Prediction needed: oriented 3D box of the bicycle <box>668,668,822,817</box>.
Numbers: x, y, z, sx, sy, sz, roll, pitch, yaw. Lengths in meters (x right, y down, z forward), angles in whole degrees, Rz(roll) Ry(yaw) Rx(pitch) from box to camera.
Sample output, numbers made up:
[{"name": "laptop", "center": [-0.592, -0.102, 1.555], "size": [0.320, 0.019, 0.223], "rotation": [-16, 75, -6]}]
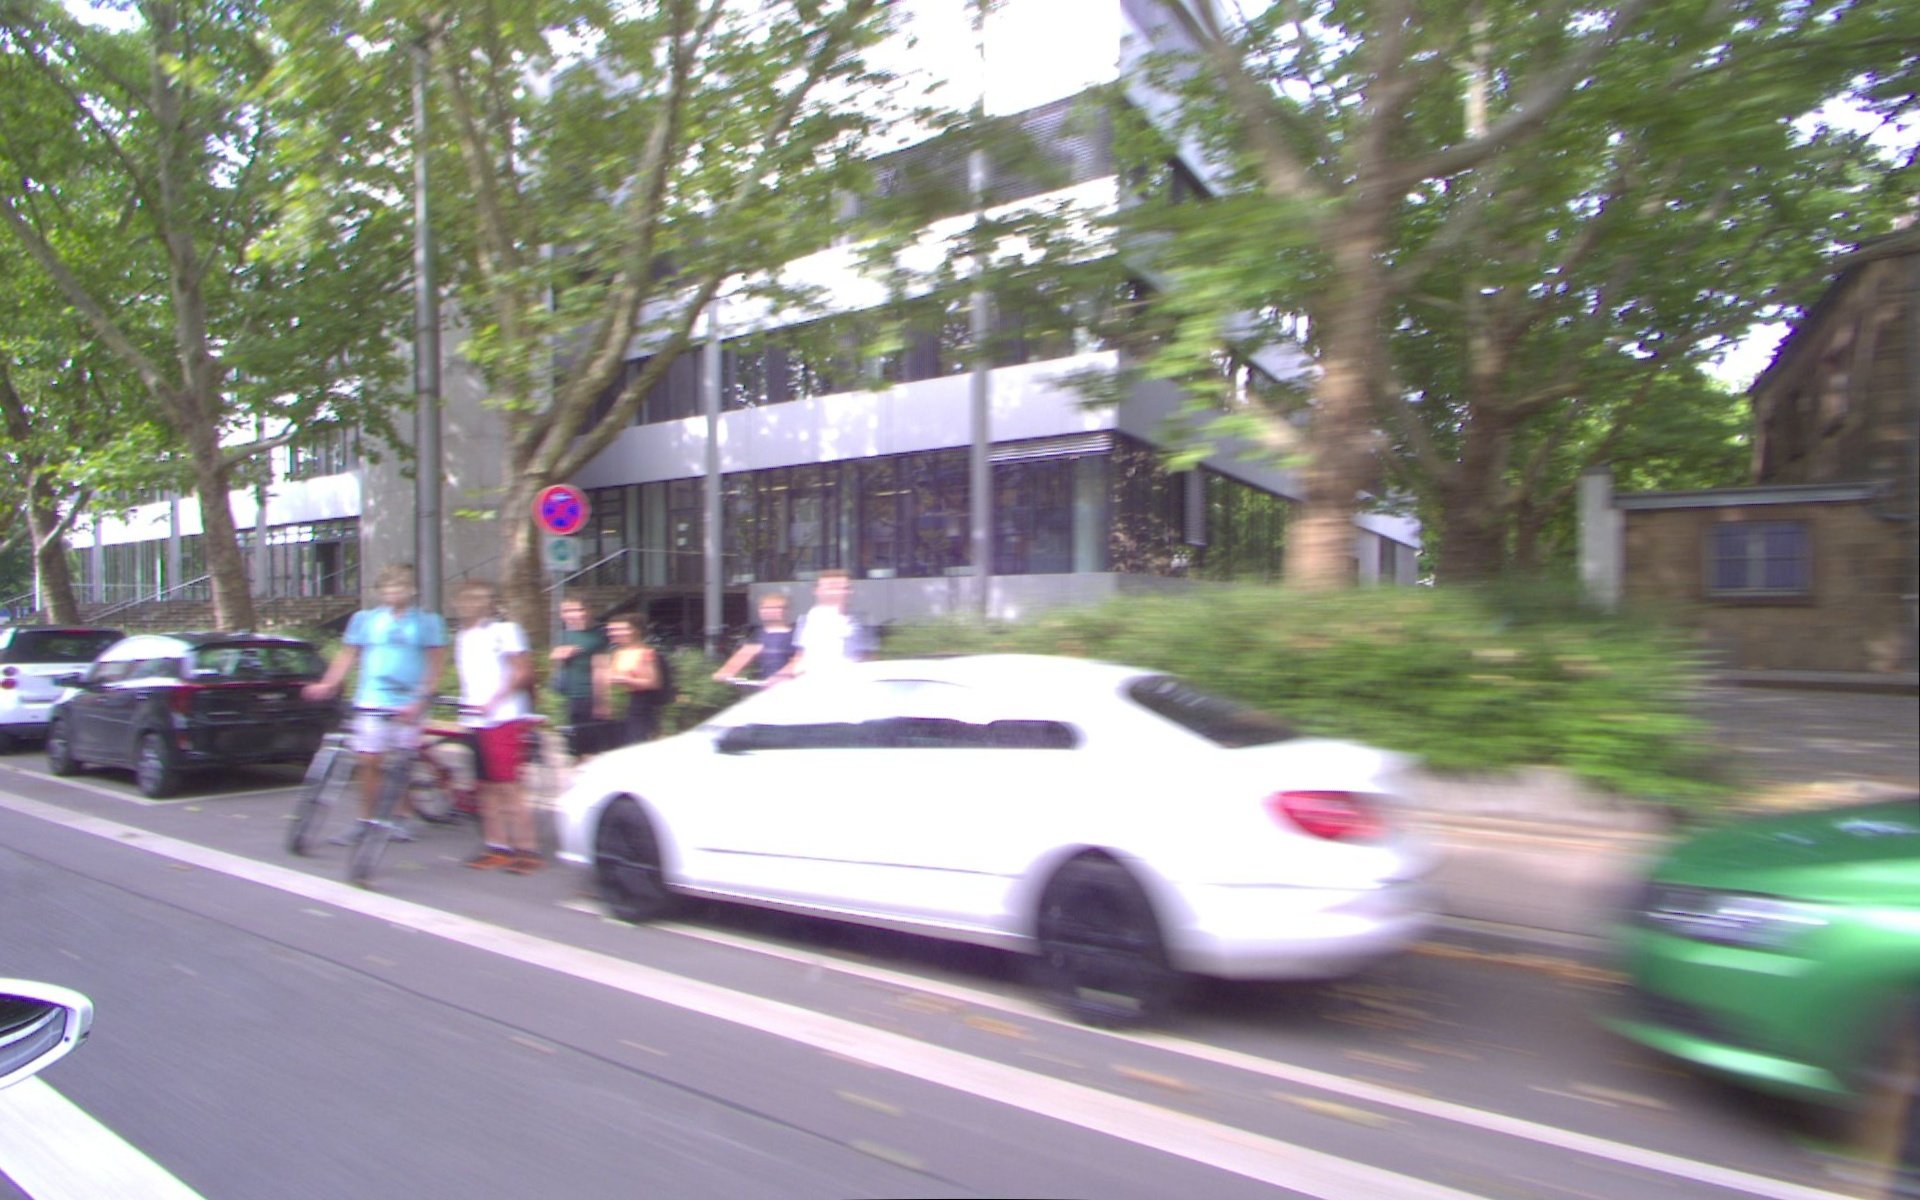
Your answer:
[{"name": "bicycle", "center": [-1.885, 1.220, 9.053], "size": [0.454, 1.146, 1.770], "rotation": [0, -2, 21]}]

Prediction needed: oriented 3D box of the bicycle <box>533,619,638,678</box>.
[{"name": "bicycle", "center": [-7.771, 0.982, 20.864], "size": [0.664, 1.132, 2.074], "rotation": [0, 0, 32]}]

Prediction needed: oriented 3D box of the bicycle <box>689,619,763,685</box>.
[{"name": "bicycle", "center": [-4.248, 0.923, 18.334], "size": [0.611, 1.132, 1.698], "rotation": [0, 0, 14]}]

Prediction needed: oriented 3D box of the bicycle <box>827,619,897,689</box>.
[{"name": "bicycle", "center": [-1.685, 0.914, 17.382], "size": [0.461, 1.132, 1.443], "rotation": [0, 0, 29]}]

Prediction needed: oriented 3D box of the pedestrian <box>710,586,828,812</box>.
[{"name": "pedestrian", "center": [-1.675, 0.835, 8.813], "size": [0.693, 1.879, 0.720], "rotation": [0, -1, 33]}]

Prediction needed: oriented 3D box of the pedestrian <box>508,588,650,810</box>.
[{"name": "pedestrian", "center": [-3.379, 0.842, 8.914], "size": [0.769, 1.840, 0.869], "rotation": [0, -1, 33]}]

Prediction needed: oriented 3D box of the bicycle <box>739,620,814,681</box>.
[{"name": "bicycle", "center": [-3.528, 0.948, 19.254], "size": [1.415, 1.132, 0.490], "rotation": [0, 1, 28]}]

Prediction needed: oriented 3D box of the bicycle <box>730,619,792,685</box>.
[{"name": "bicycle", "center": [-3.616, 0.927, 18.268], "size": [0.502, 1.132, 1.380], "rotation": [0, 0, 18]}]

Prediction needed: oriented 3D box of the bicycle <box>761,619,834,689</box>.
[{"name": "bicycle", "center": [-2.827, 0.919, 17.572], "size": [0.461, 1.132, 1.538], "rotation": [0, 0, 25]}]

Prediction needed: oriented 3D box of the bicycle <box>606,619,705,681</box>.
[{"name": "bicycle", "center": [-6.006, 0.953, 19.846], "size": [0.664, 1.132, 1.911], "rotation": [0, 0, 32]}]

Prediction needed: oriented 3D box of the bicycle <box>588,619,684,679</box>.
[{"name": "bicycle", "center": [-6.666, 0.979, 20.690], "size": [0.664, 1.132, 1.911], "rotation": [0, 0, 32]}]

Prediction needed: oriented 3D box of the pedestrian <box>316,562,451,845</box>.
[{"name": "pedestrian", "center": [-4.192, 0.724, 7.295], "size": [0.732, 1.959, 0.475], "rotation": [0, -1, 22]}]

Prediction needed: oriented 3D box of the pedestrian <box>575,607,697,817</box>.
[{"name": "pedestrian", "center": [-2.745, 0.916, 8.506], "size": [0.645, 1.679, 0.720], "rotation": [0, -1, 33]}]

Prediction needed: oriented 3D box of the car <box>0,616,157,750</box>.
[{"name": "car", "center": [-11.833, 1.010, 12.999], "size": [2.564, 1.563, 1.532], "rotation": [-1, -2, 36]}]

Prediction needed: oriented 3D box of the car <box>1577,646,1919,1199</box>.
[{"name": "car", "center": [3.928, 0.907, 2.753], "size": [3.749, 1.467, 1.586], "rotation": [0, -3, 31]}]

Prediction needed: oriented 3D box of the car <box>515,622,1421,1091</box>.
[{"name": "car", "center": [-0.135, 0.926, 5.214], "size": [4.477, 1.535, 1.679], "rotation": [0, -3, 31]}]

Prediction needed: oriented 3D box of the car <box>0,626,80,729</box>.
[{"name": "car", "center": [-15.313, 1.108, 15.158], "size": [4.356, 1.443, 1.696], "rotation": [0, -2, 30]}]

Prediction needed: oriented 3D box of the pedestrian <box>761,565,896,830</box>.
[{"name": "pedestrian", "center": [-1.066, 0.760, 8.177], "size": [0.739, 2.023, 0.792], "rotation": [0, -1, 33]}]

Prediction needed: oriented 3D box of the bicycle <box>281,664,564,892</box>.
[{"name": "bicycle", "center": [-3.427, 1.067, 6.601], "size": [0.543, 1.233, 1.794], "rotation": [0, -2, 15]}]

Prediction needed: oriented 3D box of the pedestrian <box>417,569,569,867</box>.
[{"name": "pedestrian", "center": [-3.100, 0.751, 6.667], "size": [0.731, 1.869, 0.521], "rotation": [0, -1, 18]}]

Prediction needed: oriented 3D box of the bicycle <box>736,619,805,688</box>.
[{"name": "bicycle", "center": [-3.317, 0.920, 17.616], "size": [0.461, 1.132, 1.378], "rotation": [0, 0, 25]}]

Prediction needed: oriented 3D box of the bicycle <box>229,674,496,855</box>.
[{"name": "bicycle", "center": [-4.382, 1.152, 7.500], "size": [0.543, 1.119, 1.737], "rotation": [0, -2, 21]}]

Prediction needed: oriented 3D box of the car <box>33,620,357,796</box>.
[{"name": "car", "center": [-7.954, 0.992, 10.342], "size": [3.608, 1.521, 1.525], "rotation": [-1, -2, 33]}]

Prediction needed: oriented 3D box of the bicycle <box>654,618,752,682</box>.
[{"name": "bicycle", "center": [-4.967, 0.944, 19.484], "size": [0.664, 1.132, 1.911], "rotation": [0, 0, 32]}]

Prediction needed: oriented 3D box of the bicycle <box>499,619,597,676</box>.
[{"name": "bicycle", "center": [-8.861, 1.004, 21.605], "size": [0.664, 1.132, 1.911], "rotation": [0, 0, 32]}]

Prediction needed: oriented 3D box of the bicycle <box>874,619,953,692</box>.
[{"name": "bicycle", "center": [-0.757, 0.905, 16.963], "size": [0.595, 1.132, 1.673], "rotation": [0, 0, 26]}]
